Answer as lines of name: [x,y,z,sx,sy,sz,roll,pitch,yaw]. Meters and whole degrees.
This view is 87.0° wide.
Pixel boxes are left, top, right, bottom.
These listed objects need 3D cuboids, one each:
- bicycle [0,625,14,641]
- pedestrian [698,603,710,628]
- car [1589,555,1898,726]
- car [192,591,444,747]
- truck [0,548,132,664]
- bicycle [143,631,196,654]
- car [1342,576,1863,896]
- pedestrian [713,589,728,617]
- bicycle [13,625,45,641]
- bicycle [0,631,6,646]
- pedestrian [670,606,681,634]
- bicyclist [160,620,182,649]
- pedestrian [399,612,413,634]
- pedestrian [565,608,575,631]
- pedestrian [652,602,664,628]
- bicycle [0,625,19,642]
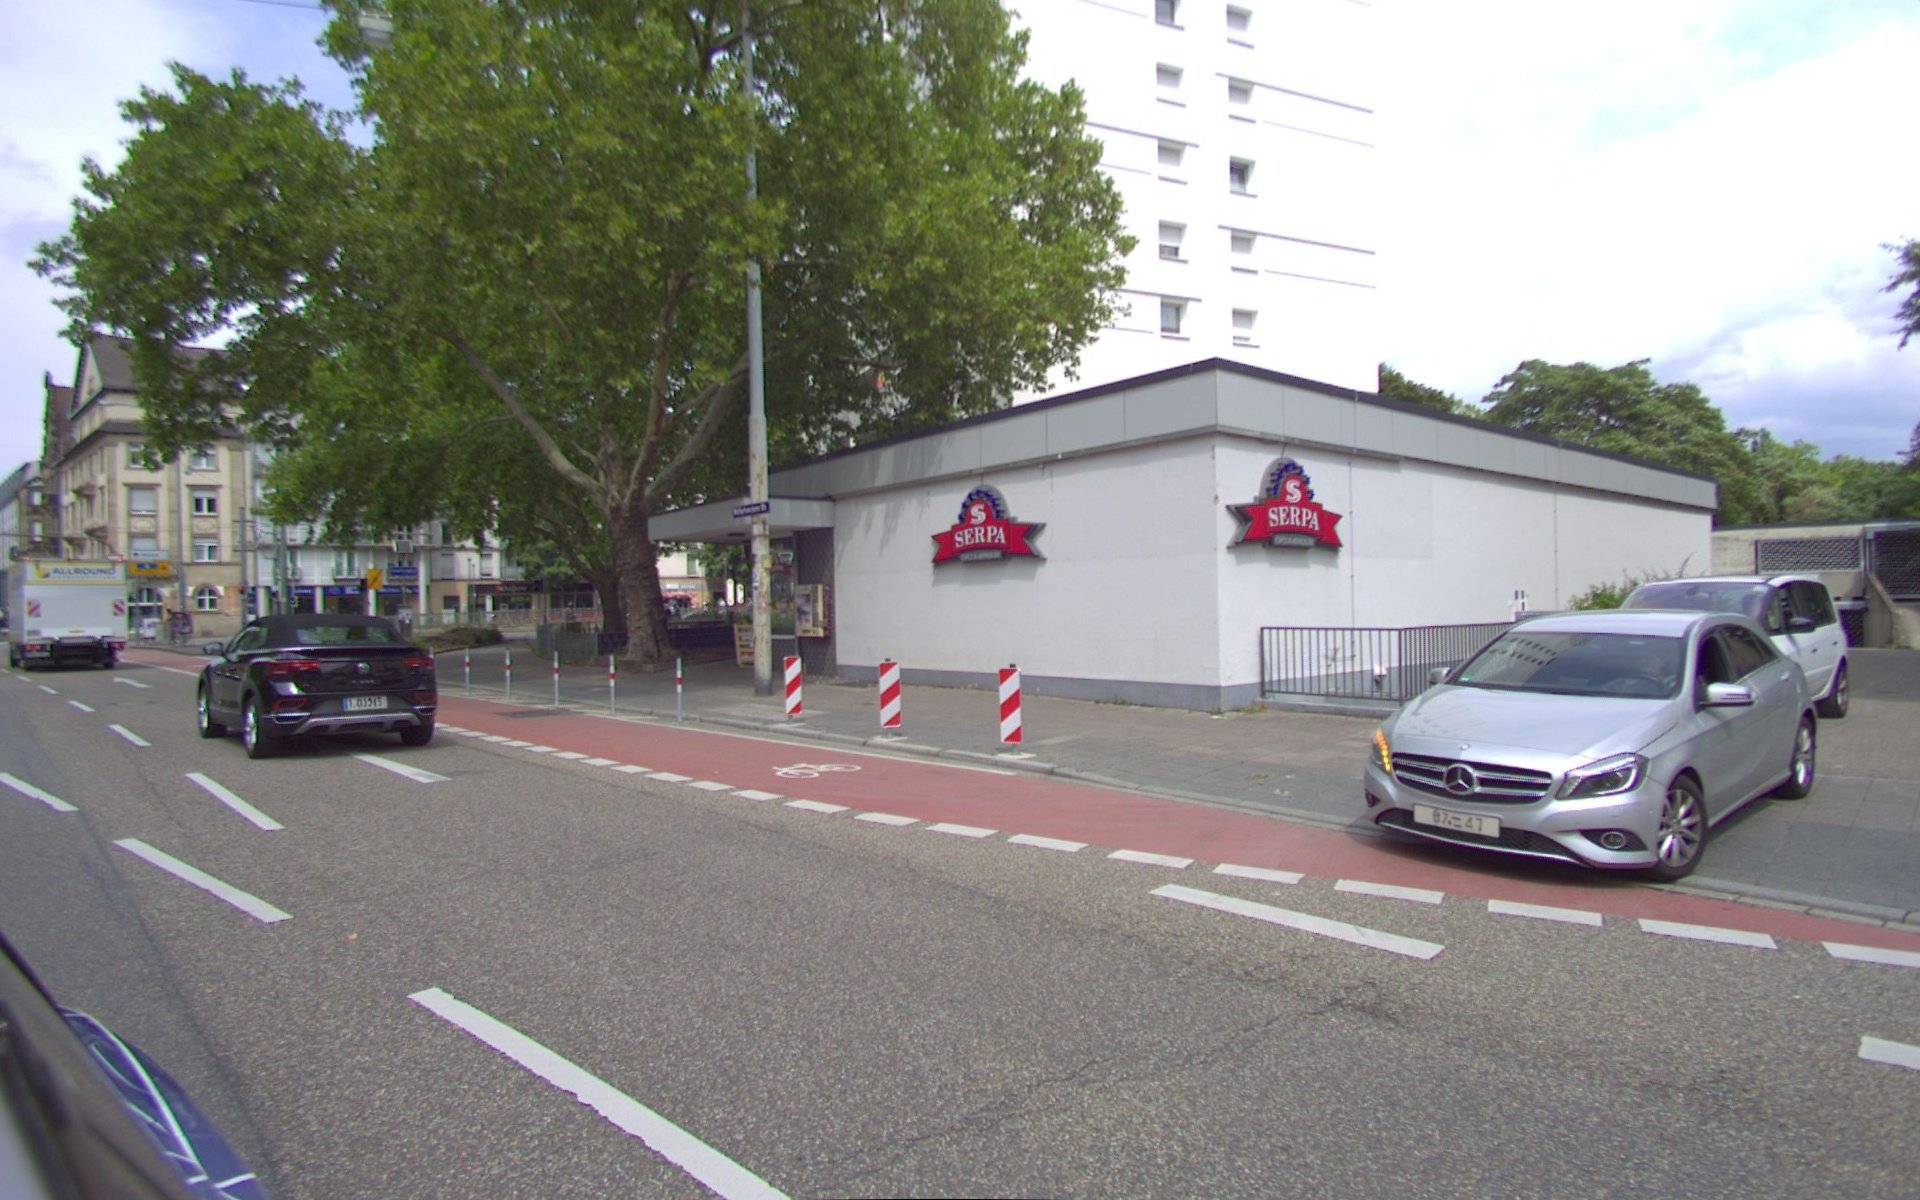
bicycle: [-74.744,2.569,78.527,1.844,1.201,0.457,-2,-1,-29]
pedestrian: [-20.649,1.249,81.624,0.744,2.029,0.763,-1,-1,-24]
car: [9.551,0.445,12.207,4.571,1.699,1.853,1,-2,-38]
car: [-7.675,0.725,11.945,1.678,1.530,4.002,1,-2,-45]
truck: [-27.263,0.262,30.596,7.021,3.131,2.513,-1,-3,44]
bicycle: [-38.669,2.090,49.518,1.937,1.103,0.629,1,-2,-27]
car: [4.646,0.667,7.078,4.119,1.461,1.852,-4,1,-39]
pedestrian: [-17.444,0.206,73.839,0.858,2.029,0.855,-1,-1,-25]
bicycle: [-73.818,2.624,80.274,0.397,1.201,1.807,-3,0,41]
bicycle: [-76.974,3.105,80.652,0.397,1.201,1.328,-3,1,40]
pedestrian: [-17.101,1.201,60.869,0.497,1.636,0.698,-1,-1,-27]
bicyclist: [-38.637,1.686,49.572,0.739,1.352,0.493,-1,-1,-27]
pedestrian: [-40.112,1.666,73.252,0.824,1.564,0.871,-1,-1,-25]
pedestrian: [-26.701,1.351,69.298,0.588,1.564,0.672,-1,-1,-28]
pedestrian: [-23.886,1.185,80.050,0.744,2.029,0.763,-1,-1,-24]
bicycle: [-75.117,2.659,79.414,0.397,1.201,1.799,-2,2,38]
